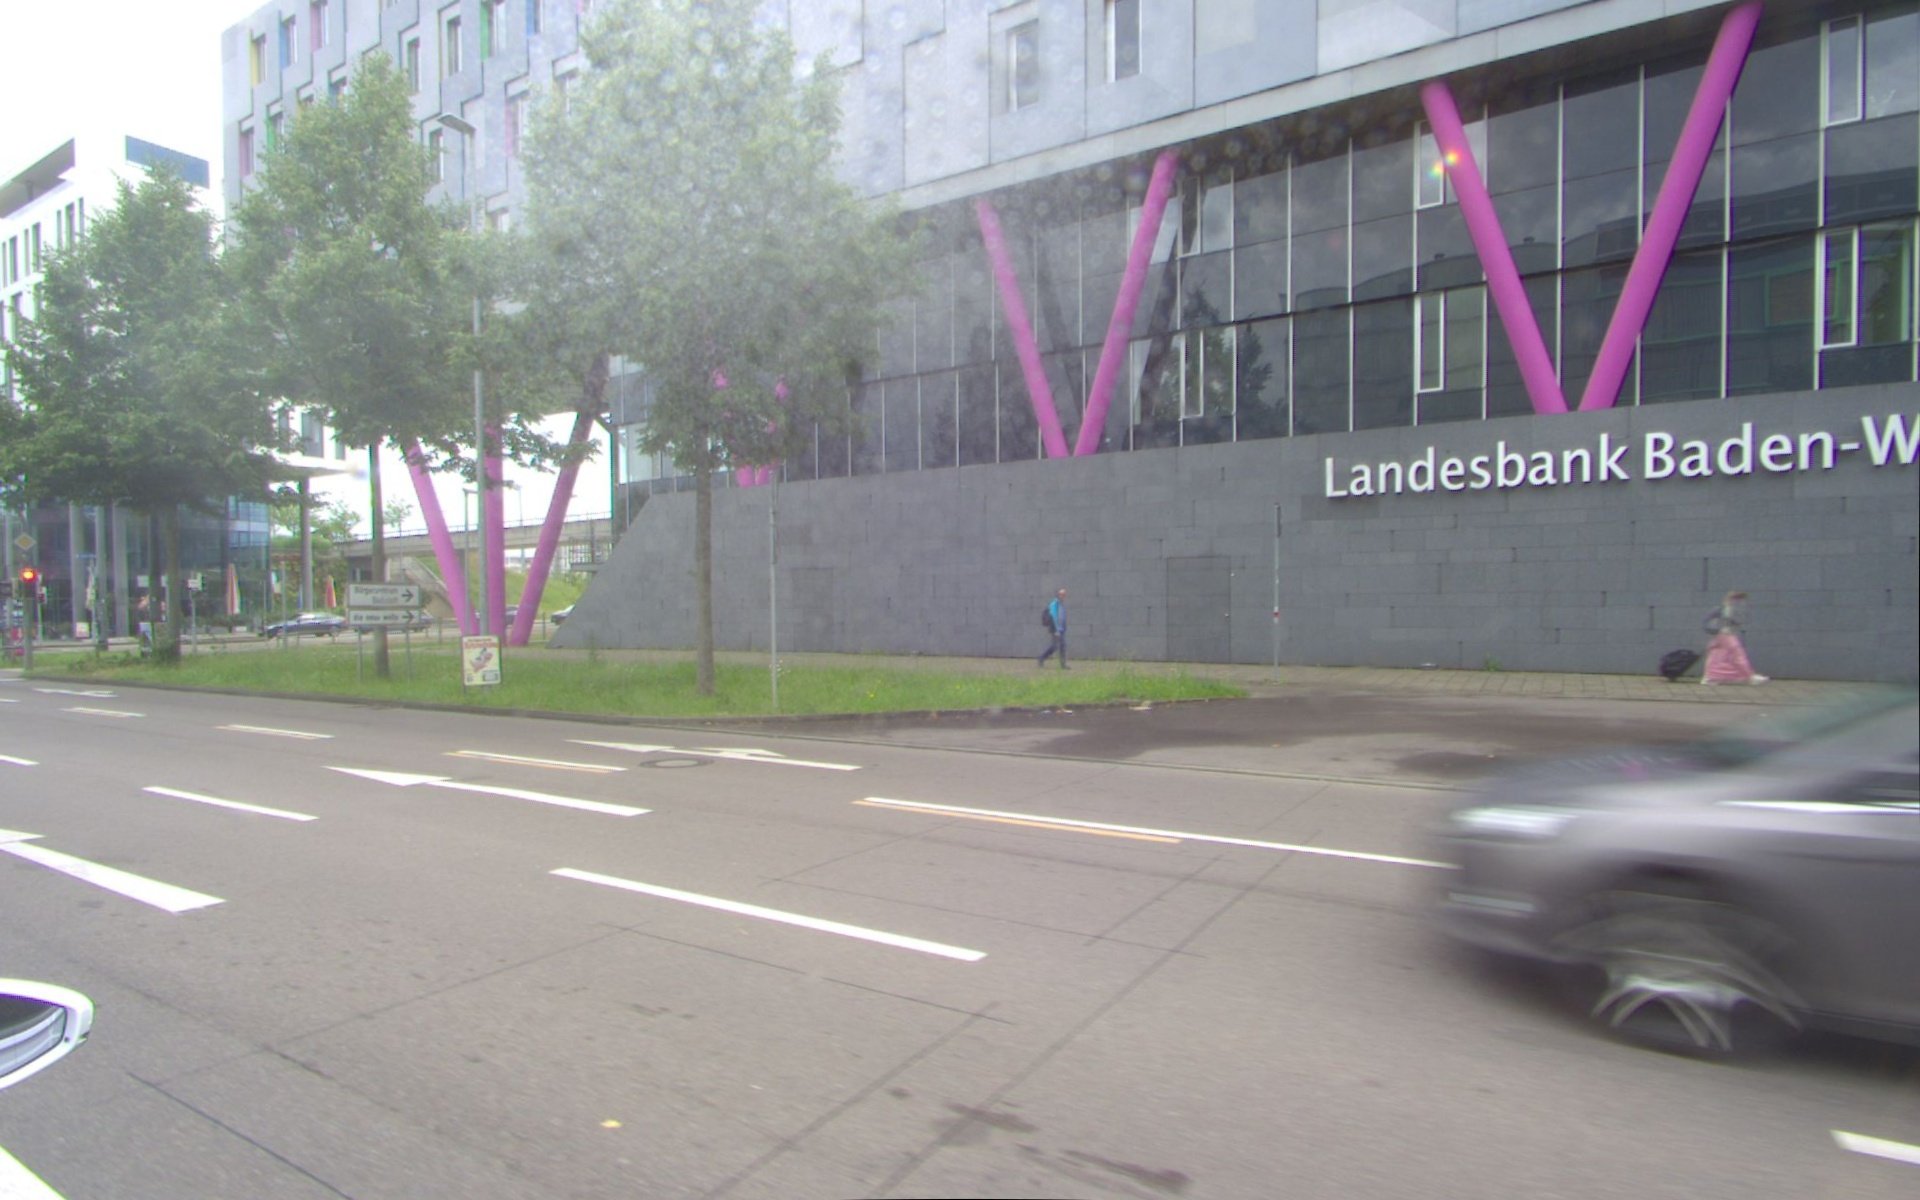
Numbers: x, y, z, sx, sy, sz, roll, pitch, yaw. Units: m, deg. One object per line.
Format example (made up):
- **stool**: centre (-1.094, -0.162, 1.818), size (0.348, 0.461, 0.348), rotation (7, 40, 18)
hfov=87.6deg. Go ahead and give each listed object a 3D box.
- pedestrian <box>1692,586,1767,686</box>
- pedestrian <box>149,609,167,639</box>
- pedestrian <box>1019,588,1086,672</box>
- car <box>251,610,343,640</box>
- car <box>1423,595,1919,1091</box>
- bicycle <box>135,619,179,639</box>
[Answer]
- **pedestrian**: centre (12.753, 0.578, 16.625), size (0.902, 1.604, 0.782), rotation (1, 1, 33)
- **pedestrian**: centre (-44.467, 1.332, 55.534), size (0.610, 1.625, 0.613), rotation (0, 1, 34)
- **pedestrian**: centre (2.032, 0.629, 22.014), size (1.120, 1.794, 1.049), rotation (1, 1, 33)
- **car**: centre (-39.616, 1.468, 59.946), size (1.733, 1.636, 4.240), rotation (0, 0, 34)
- **car**: centre (4.022, 0.765, 3.397), size (4.210, 1.519, 1.743), rotation (1, 0, 35)
- **bicycle**: centre (-44.505, 1.602, 55.487), size (0.609, 1.100, 1.787), rotation (0, 0, 34)
